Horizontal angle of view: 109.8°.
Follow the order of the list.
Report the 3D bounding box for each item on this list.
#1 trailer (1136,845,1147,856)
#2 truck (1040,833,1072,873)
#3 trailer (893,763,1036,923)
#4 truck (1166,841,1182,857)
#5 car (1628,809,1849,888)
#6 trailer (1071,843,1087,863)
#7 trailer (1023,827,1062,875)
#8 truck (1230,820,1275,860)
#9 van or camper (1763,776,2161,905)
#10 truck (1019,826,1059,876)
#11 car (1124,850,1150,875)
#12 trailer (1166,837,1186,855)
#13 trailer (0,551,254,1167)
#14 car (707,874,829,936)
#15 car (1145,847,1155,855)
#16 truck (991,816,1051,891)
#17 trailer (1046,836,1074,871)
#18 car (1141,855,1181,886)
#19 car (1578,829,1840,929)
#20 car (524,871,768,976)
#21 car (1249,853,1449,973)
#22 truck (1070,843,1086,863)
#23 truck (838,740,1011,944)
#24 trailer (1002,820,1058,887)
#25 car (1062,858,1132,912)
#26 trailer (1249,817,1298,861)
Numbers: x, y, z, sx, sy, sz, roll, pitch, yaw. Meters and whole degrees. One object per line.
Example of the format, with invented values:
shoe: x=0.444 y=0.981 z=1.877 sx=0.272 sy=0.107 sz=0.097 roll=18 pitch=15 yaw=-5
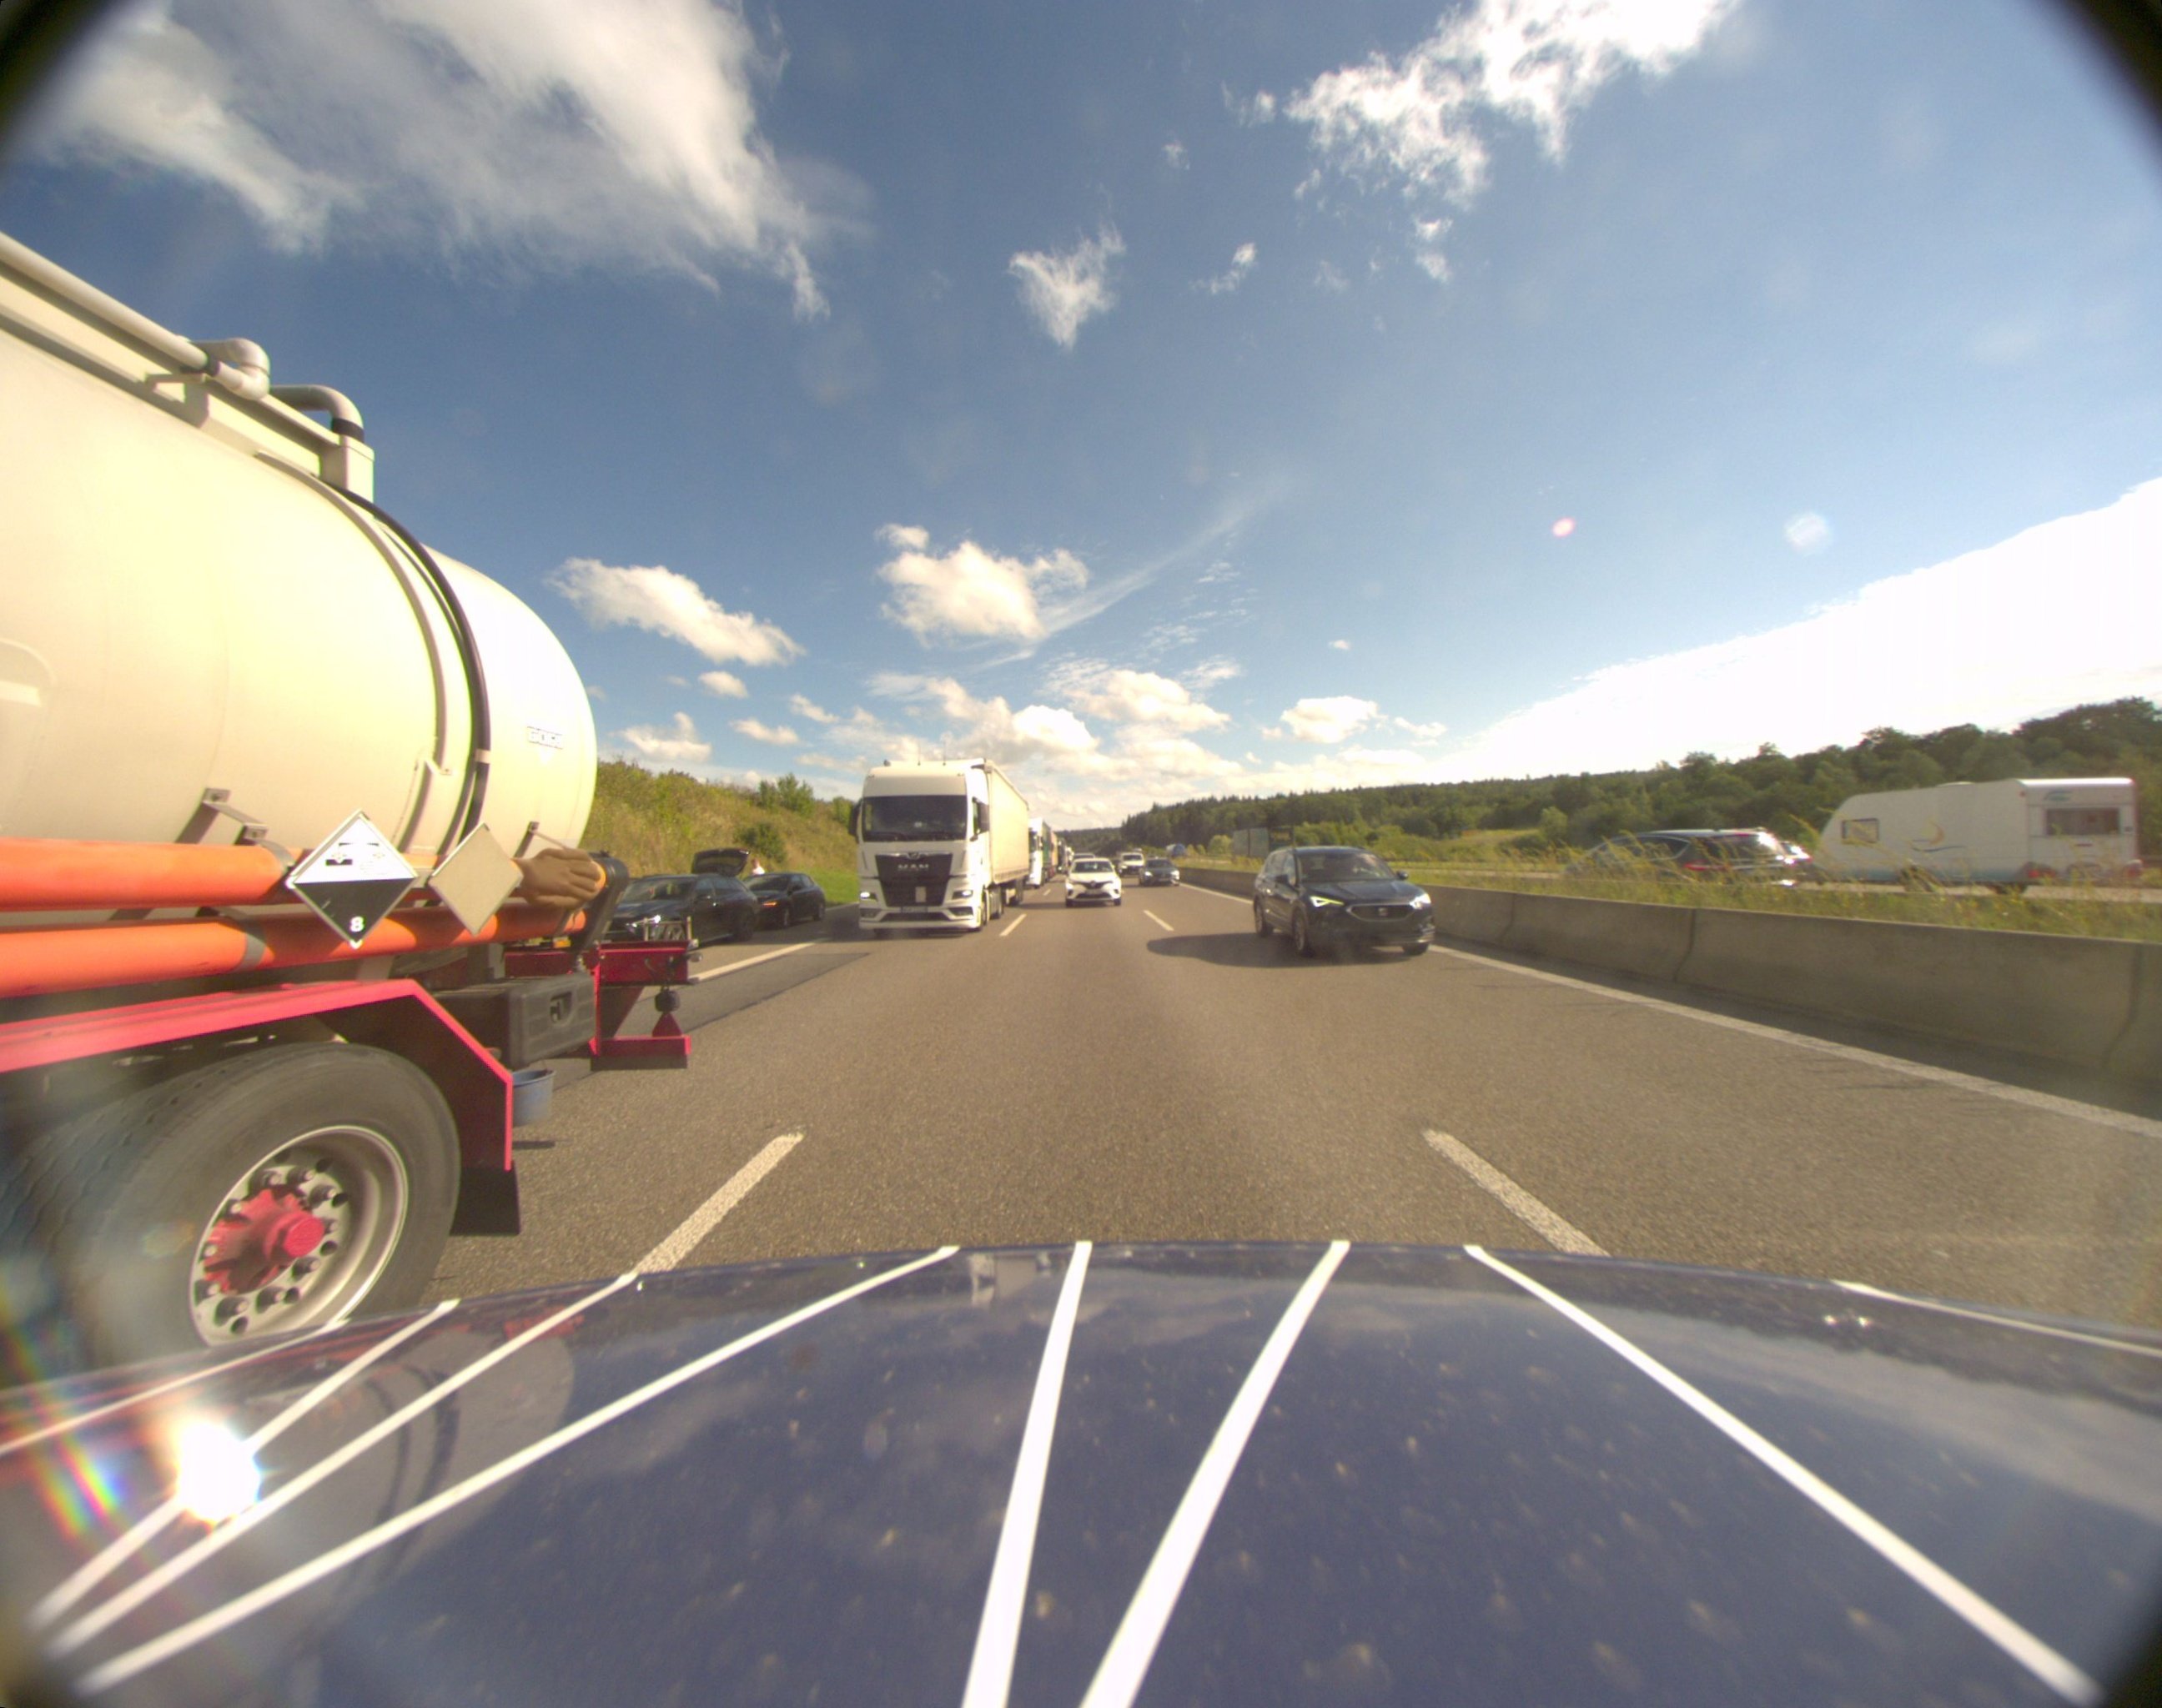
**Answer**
trailer: x=20.516 y=-1.155 z=257.030 sx=2.806 sy=3.508 sz=8.953 roll=-2 pitch=0 yaw=1
truck: x=-2.748 y=-0.068 z=86.463 sx=2.747 sy=4.014 sz=10.204 roll=-5 pitch=0 yaw=1
trailer: x=-3.381 y=-0.283 z=26.003 sx=2.709 sy=4.058 sz=12.944 roll=-1 pitch=0 yaw=0
truck: x=19.370 y=-1.027 z=159.177 sx=2.323 sy=3.255 sz=6.104 roll=-5 pitch=1 yaw=-1
car: x=19.632 y=-0.156 z=23.099 sx=2.245 sy=2.045 sz=5.082 roll=-2 pitch=0 yaw=0
trailer: x=-0.362 y=-0.285 z=162.395 sx=2.652 sy=3.911 sz=11.175 roll=-5 pitch=0 yaw=2
trailer: x=-3.460 y=-0.300 z=71.557 sx=2.799 sy=3.916 sz=13.067 roll=-3 pitch=0 yaw=0
truck: x=19.644 y=-1.541 z=87.835 sx=2.718 sy=4.219 sz=10.342 roll=-2 pitch=0 yaw=0
van or camper: x=19.649 y=-0.288 z=17.556 sx=2.465 sy=2.400 sz=5.851 roll=-2 pitch=1 yaw=0
truck: x=-3.437 y=-0.252 z=64.079 sx=2.809 sy=3.916 sz=5.825 roll=-3 pitch=1 yaw=0
car: x=4.418 y=0.661 z=60.760 sx=1.779 sy=1.923 sz=4.214 roll=-2 pitch=0 yaw=1
trailer: x=19.337 y=-1.622 z=154.879 sx=2.327 sy=3.265 sz=10.874 roll=-5 pitch=0 yaw=0
trailer: x=-7.590 y=0.080 z=0.374 sx=2.547 sy=3.577 sz=10.625 roll=-1 pitch=0 yaw=1
car: x=-8.067 y=1.270 z=19.976 sx=1.637 sy=1.344 sz=3.738 roll=-2 pitch=0 yaw=0
car: x=16.035 y=-0.730 z=177.270 sx=1.764 sy=1.871 sz=4.000 roll=-5 pitch=0 yaw=0
truck: x=-3.308 y=-0.068 z=43.542 sx=2.653 sy=3.846 sz=6.995 roll=-2 pitch=1 yaw=0
trailer: x=-2.535 y=-0.024 z=95.953 sx=2.722 sy=3.937 sz=8.712 roll=-5 pitch=0 yaw=1
car: x=4.244 y=0.845 z=40.884 sx=1.779 sy=1.451 sz=4.158 roll=-2 pitch=0 yaw=1
car: x=11.594 y=0.407 z=14.431 sx=1.833 sy=1.596 sz=3.809 roll=-2 pitch=0 yaw=1
car: x=-7.904 y=1.159 z=14.482 sx=1.905 sy=1.504 sz=4.737 roll=-2 pitch=0 yaw=0
car: x=4.046 y=0.795 z=12.251 sx=1.779 sy=1.533 sz=4.158 roll=-2 pitch=0 yaw=1
truck: x=-0.572 y=-0.209 z=156.046 sx=2.655 sy=3.901 sz=6.943 roll=-5 pitch=0 yaw=2
truck: x=-3.445 y=-0.260 z=18.481 sx=2.715 sy=4.036 sz=6.361 roll=-2 pitch=1 yaw=0
trailer: x=-3.227 y=-0.096 z=51.531 sx=2.668 sy=3.846 sz=13.393 roll=-2 pitch=0 yaw=0
car: x=0.549 y=0.933 z=25.384 sx=2.026 sy=1.510 sz=5.299 roll=-3 pitch=0 yaw=2
trailer: x=19.695 y=-1.506 z=78.358 sx=2.732 sy=4.219 sz=8.551 roll=-2 pitch=0 yaw=0
